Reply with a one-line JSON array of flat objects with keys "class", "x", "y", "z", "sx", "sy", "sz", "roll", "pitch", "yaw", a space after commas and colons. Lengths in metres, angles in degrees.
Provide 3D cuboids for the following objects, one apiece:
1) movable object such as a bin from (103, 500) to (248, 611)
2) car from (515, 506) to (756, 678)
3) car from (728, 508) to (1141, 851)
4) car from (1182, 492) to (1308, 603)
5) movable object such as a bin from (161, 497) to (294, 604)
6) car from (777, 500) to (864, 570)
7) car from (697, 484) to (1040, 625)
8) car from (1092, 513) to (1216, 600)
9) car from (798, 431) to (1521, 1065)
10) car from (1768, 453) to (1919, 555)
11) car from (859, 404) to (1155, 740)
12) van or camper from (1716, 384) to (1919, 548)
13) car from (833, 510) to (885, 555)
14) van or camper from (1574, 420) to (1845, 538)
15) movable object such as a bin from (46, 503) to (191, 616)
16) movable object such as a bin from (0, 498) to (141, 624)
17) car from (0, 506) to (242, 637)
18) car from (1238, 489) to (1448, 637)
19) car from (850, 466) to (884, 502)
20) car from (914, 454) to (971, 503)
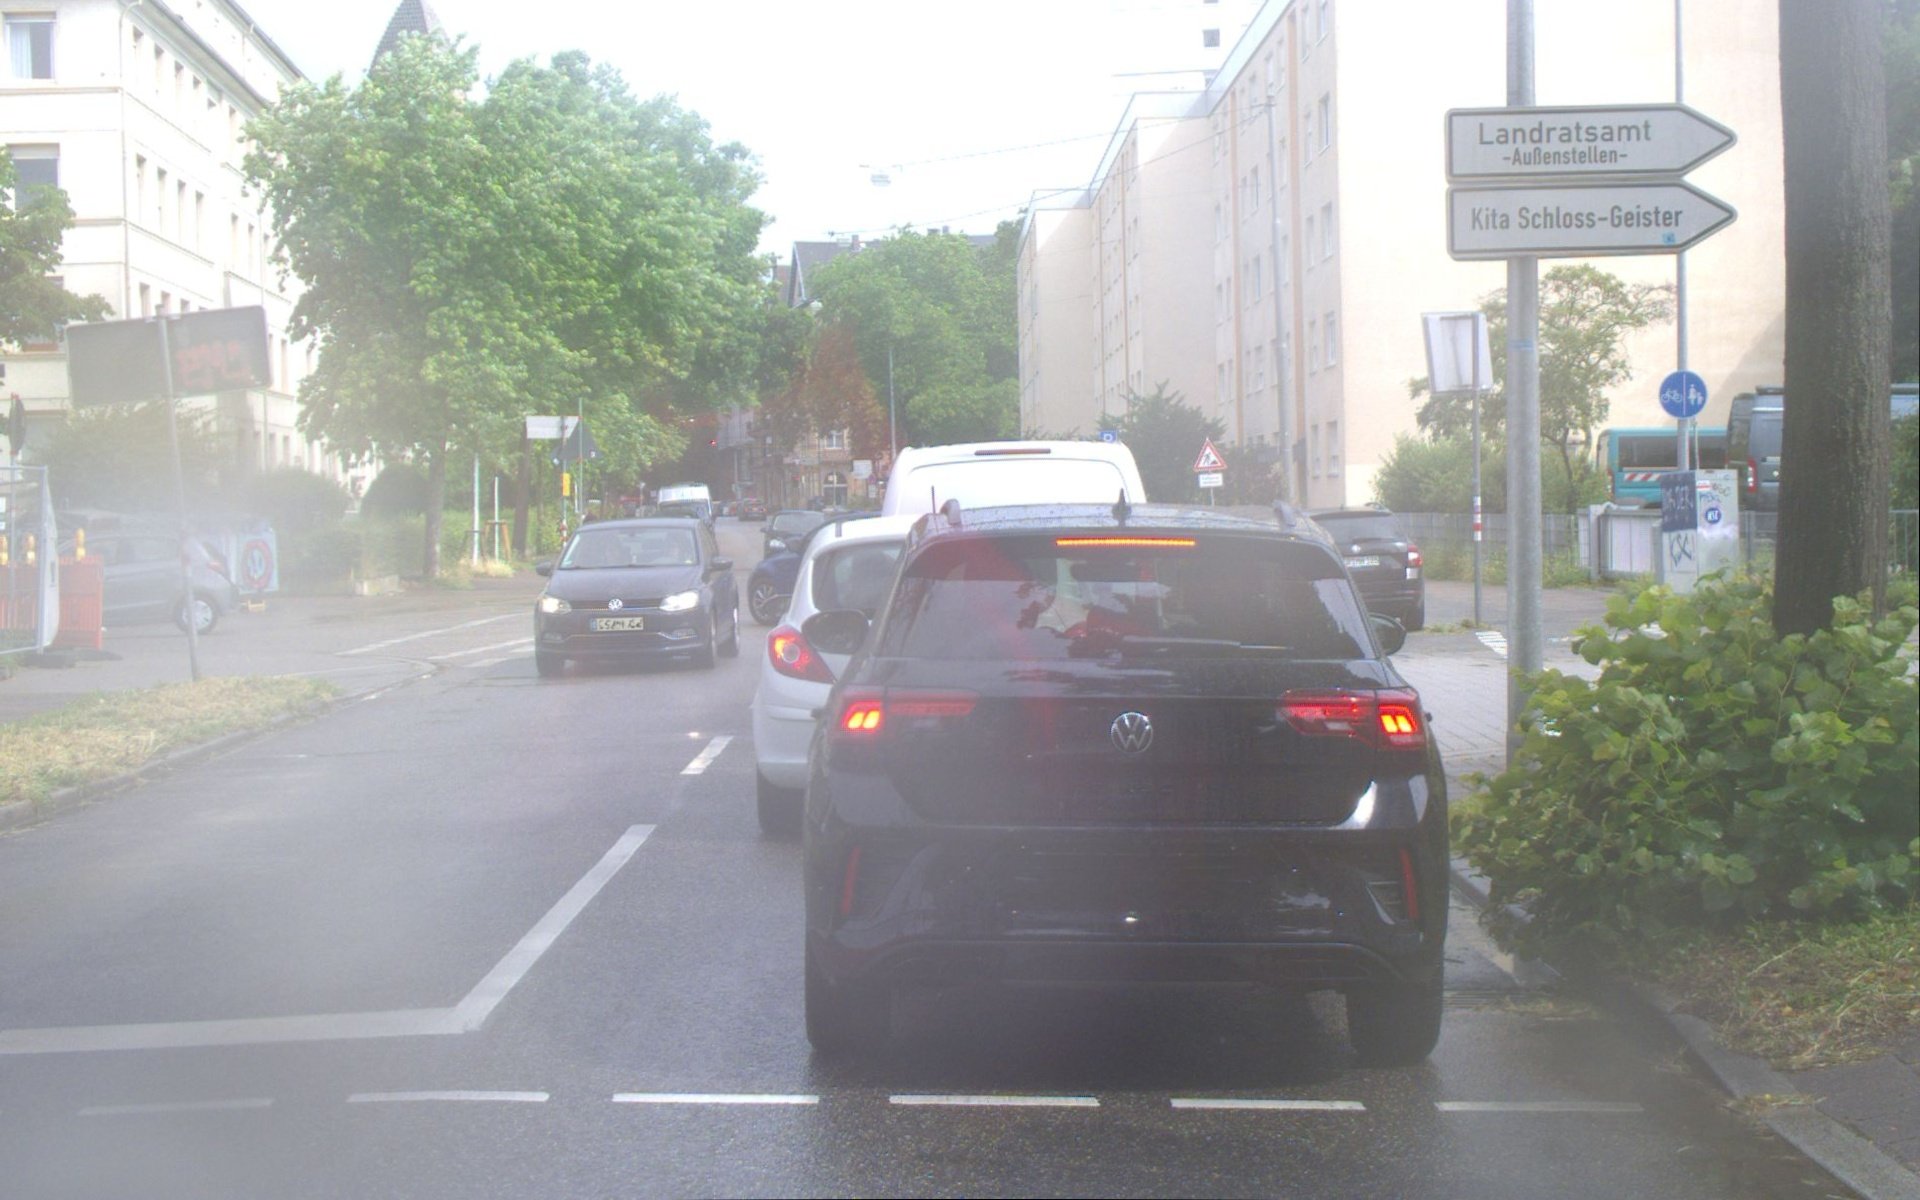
[{"class": "movable object such as a bin", "x": -12.478, "y": -0.717, "z": 54.725, "sx": 1.539, "sy": 1.668, "sz": 1.664, "roll": -1, "pitch": 2, "yaw": 19}, {"class": "car", "x": -3.032, "y": -0.099, "z": 32.891, "sx": 1.813, "sy": 1.535, "sz": 3.982, "roll": 0, "pitch": 1, "yaw": 2}, {"class": "car", "x": -0.119, "y": 0.324, "z": 17.236, "sx": 1.813, "sy": 1.498, "sz": 4.000, "roll": 1, "pitch": 1, "yaw": 0}, {"class": "car", "x": 4.261, "y": -0.762, "z": 51.808, "sx": 1.757, "sy": 1.522, "sz": 3.999, "roll": 2, "pitch": 0, "yaw": 3}, {"class": "movable object such as a bin", "x": -11.977, "y": -0.817, "z": 56.238, "sx": 1.539, "sy": 1.656, "sz": 1.457, "roll": -1, "pitch": 2, "yaw": 19}, {"class": "car", "x": -3.395, "y": -1.611, "z": 84.228, "sx": 1.841, "sy": 1.602, "sz": 4.000, "roll": -3, "pitch": 2, "yaw": 1}, {"class": "car", "x": -1.207, "y": -0.581, "z": 43.342, "sx": 1.817, "sy": 1.579, "sz": 4.445, "roll": -6, "pitch": 4, "yaw": -41}, {"class": "car", "x": 3.523, "y": -0.834, "z": 63.120, "sx": 1.748, "sy": 1.503, "sz": 4.113, "roll": -1, "pitch": 2, "yaw": -4}, {"class": "car", "x": 0.509, "y": 0.354, "z": 11.017, "sx": 1.873, "sy": 1.640, "sz": 4.062, "roll": 1, "pitch": 1, "yaw": 0}, {"class": "car", "x": 13.380, "y": -1.458, "z": 51.889, "sx": 1.610, "sy": 1.444, "sz": 3.417, "roll": -2, "pitch": 2, "yaw": 1}, {"class": "car", "x": 0.353, "y": -0.206, "z": 23.671, "sx": 1.836, "sy": 2.095, "sz": 4.000, "roll": 1, "pitch": 1, "yaw": 2}, {"class": "van or camper", "x": 14.949, "y": -2.150, "z": 55.513, "sx": 4.998, "sy": 2.545, "sz": 2.175, "roll": -1, "pitch": 1, "yaw": 1}, {"class": "car", "x": -3.870, "y": -2.595, "z": 132.073, "sx": 1.740, "sy": 1.602, "sz": 3.675, "roll": -3, "pitch": 2, "yaw": 1}, {"class": "van or camper", "x": 14.321, "y": -2.317, "z": 65.924, "sx": 4.760, "sy": 2.124, "sz": 2.321, "roll": -1, "pitch": 2, "yaw": 4}, {"class": "movable object such as a bin", "x": -13.009, "y": -0.638, "z": 53.166, "sx": 1.539, "sy": 1.650, "sz": 1.526, "roll": -1, "pitch": 2, "yaw": 19}, {"class": "movable object such as a bin", "x": -13.357, "y": -0.587, "z": 51.627, "sx": 1.539, "sy": 1.818, "sz": 1.262, "roll": -1, "pitch": 2, "yaw": 19}, {"class": "car", "x": -11.944, "y": -0.361, "z": 47.002, "sx": 3.986, "sy": 1.631, "sz": 1.896, "roll": -3, "pitch": 0, "yaw": -15}, {"class": "car", "x": 4.434, "y": -0.479, "z": 40.404, "sx": 1.774, "sy": 1.534, "sz": 4.379, "roll": -4, "pitch": 2, "yaw": -2}, {"class": "car", "x": -4.940, "y": -6.181, "z": 182.690, "sx": 1.665, "sy": 1.831, "sz": 4.001, "roll": -2, "pitch": 2, "yaw": -2}, {"class": "car", "x": -0.583, "y": -4.223, "z": 119.701, "sx": 1.841, "sy": 1.602, "sz": 3.675, "roll": -3, "pitch": 2, "yaw": 1}]
